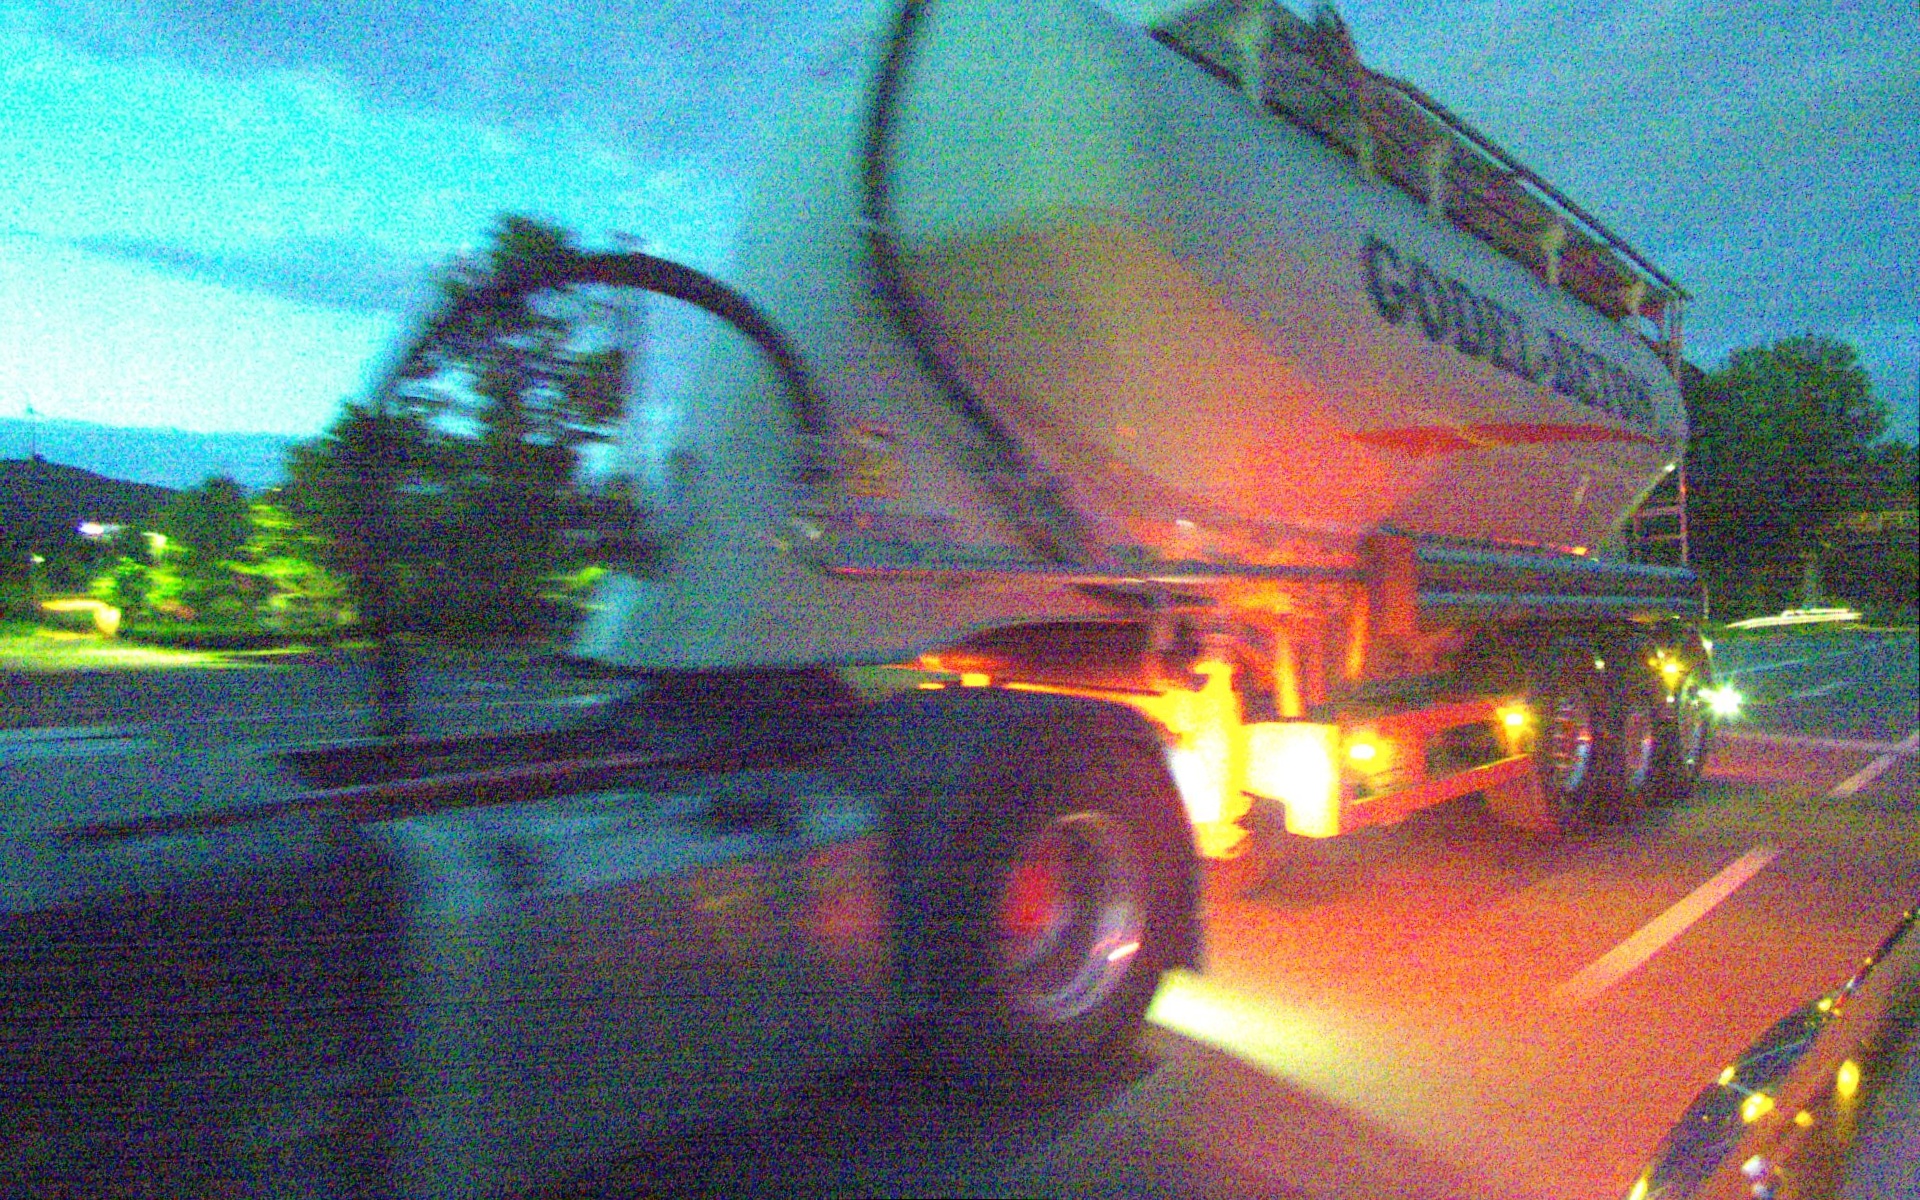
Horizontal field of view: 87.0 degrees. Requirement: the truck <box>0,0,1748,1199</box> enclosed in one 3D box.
[{"bbox_3d":[0.546,-0.676,4.803,12.913,4.157,2.692,-1,1,-41],"label":"truck"}]
